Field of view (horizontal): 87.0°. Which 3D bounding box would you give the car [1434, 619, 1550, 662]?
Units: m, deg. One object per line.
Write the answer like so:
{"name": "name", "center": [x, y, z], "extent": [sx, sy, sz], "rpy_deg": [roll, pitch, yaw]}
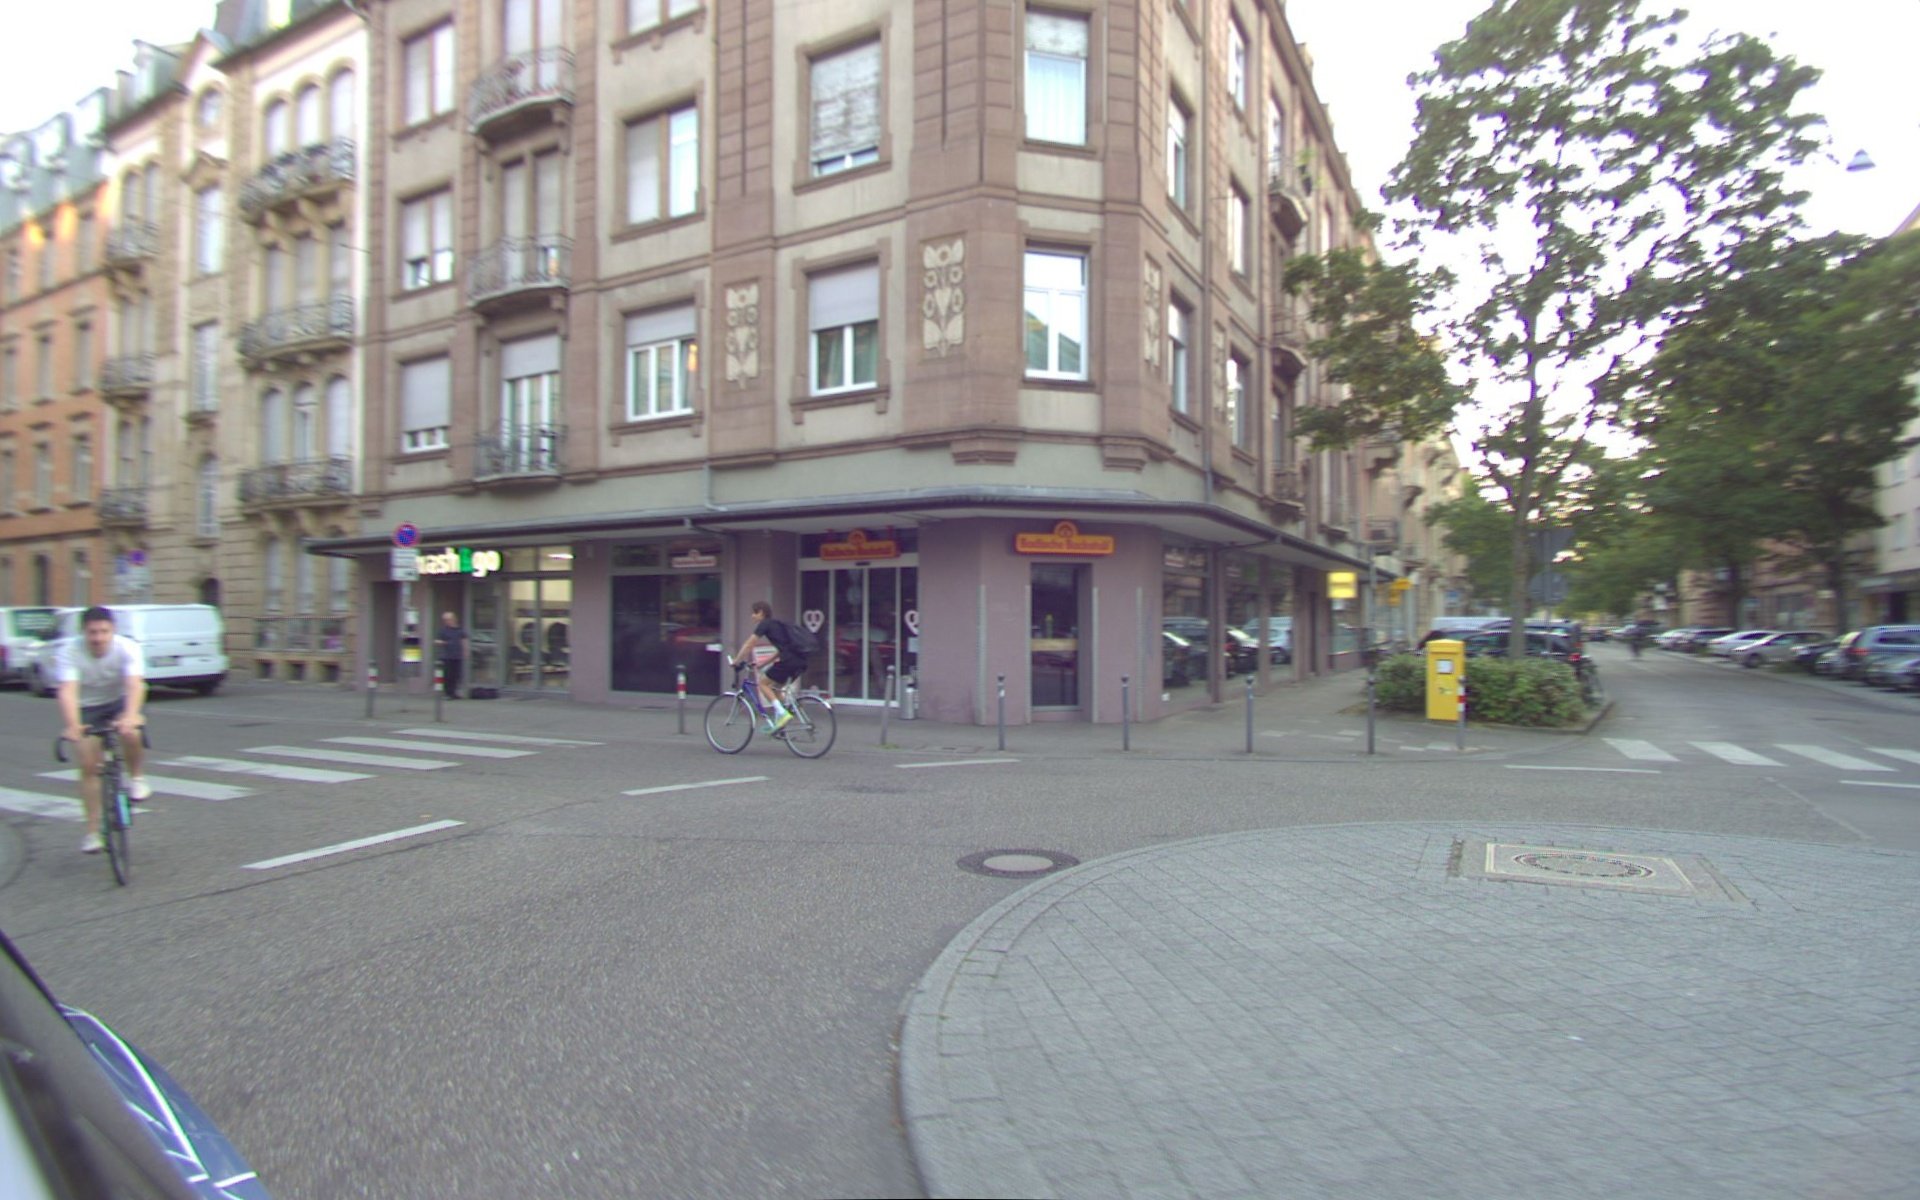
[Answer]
{"name": "car", "center": [26.186, 1.951, 49.970], "extent": [4.983, 1.966, 1.981], "rpy_deg": [0, 0, 29]}

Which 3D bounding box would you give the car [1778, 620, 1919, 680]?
{"name": "car", "center": [29.573, 1.590, 32.776], "extent": [4.476, 1.812, 1.981], "rpy_deg": [0, 0, 29]}

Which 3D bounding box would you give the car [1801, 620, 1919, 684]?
{"name": "car", "center": [28.319, 1.543, 30.304], "extent": [4.476, 1.812, 1.981], "rpy_deg": [0, 0, 29]}

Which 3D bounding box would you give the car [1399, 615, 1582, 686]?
{"name": "car", "center": [15.013, 1.364, 28.845], "extent": [4.476, 1.844, 1.981], "rpy_deg": [0, 0, 29]}

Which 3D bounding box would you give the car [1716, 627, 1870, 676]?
{"name": "car", "center": [33.620, 2.046, 41.041], "extent": [4.476, 1.812, 1.981], "rpy_deg": [0, 0, 29]}

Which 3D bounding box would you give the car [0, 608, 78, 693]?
{"name": "car", "center": [-23.632, 1.188, 24.626], "extent": [4.826, 1.936, 1.824], "rpy_deg": [-1, -1, 30]}

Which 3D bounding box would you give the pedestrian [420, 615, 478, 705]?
{"name": "pedestrian", "center": [-9.893, 1.149, 19.606], "extent": [0.733, 1.691, 0.704], "rpy_deg": [-1, -1, 30]}

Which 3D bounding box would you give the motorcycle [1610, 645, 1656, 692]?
{"name": "motorcycle", "center": [33.091, 3.311, 49.806], "extent": [1.159, 2.029, 3.969], "rpy_deg": [0, 0, 23]}

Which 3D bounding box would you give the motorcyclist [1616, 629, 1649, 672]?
{"name": "motorcyclist", "center": [33.023, 2.465, 49.719], "extent": [1.159, 2.029, 1.032], "rpy_deg": [0, 0, 24]}

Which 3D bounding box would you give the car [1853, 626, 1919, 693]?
{"name": "car", "center": [25.358, 1.485, 25.061], "extent": [4.476, 1.590, 1.981], "rpy_deg": [0, 0, 29]}

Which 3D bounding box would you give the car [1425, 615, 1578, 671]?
{"name": "car", "center": [20.449, 1.574, 38.383], "extent": [4.983, 1.966, 1.981], "rpy_deg": [0, 0, 29]}

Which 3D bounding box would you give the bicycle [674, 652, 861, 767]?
{"name": "bicycle", "center": [-2.147, 1.198, 11.411], "extent": [1.915, 1.180, 0.838], "rpy_deg": [0, 0, 11]}

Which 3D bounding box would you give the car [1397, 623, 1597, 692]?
{"name": "car", "center": [13.952, 1.438, 26.501], "extent": [4.476, 1.590, 1.981], "rpy_deg": [0, 0, 29]}

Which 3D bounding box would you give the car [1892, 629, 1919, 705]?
{"name": "car", "center": [22.804, 1.446, 21.173], "extent": [4.476, 1.590, 1.981], "rpy_deg": [0, 0, 29]}

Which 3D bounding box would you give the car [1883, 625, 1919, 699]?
{"name": "car", "center": [24.151, 1.422, 22.860], "extent": [4.476, 1.632, 1.981], "rpy_deg": [0, 0, 29]}

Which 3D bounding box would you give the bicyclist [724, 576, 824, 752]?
{"name": "bicyclist", "center": [-2.080, 0.693, 11.398], "extent": [0.869, 1.890, 0.838], "rpy_deg": [0, 0, 10]}

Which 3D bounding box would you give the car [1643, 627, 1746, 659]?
{"name": "car", "center": [41.514, 2.401, 57.330], "extent": [4.476, 1.627, 1.981], "rpy_deg": [0, 0, 29]}

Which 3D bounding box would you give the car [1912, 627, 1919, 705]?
{"name": "car", "center": [21.458, 1.353, 19.239], "extent": [4.476, 1.590, 1.981], "rpy_deg": [0, 0, 29]}

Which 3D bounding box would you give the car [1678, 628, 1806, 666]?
{"name": "car", "center": [36.726, 2.199, 47.699], "extent": [4.476, 1.627, 1.981], "rpy_deg": [0, 0, 29]}

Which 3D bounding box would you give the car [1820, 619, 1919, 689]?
{"name": "car", "center": [26.505, 1.453, 27.452], "extent": [4.476, 1.812, 1.981], "rpy_deg": [0, 0, 29]}

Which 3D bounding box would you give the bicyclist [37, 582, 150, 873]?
{"name": "bicyclist", "center": [-5.525, 0.753, 6.449], "extent": [0.521, 1.716, 0.790], "rpy_deg": [0, 0, -42]}

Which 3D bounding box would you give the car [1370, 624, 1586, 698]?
{"name": "car", "center": [12.440, 1.402, 24.491], "extent": [4.476, 1.590, 1.981], "rpy_deg": [0, 0, 29]}

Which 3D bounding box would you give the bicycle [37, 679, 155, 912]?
{"name": "bicycle", "center": [-5.501, 1.146, 6.428], "extent": [0.513, 1.164, 1.785], "rpy_deg": [0, 0, -42]}

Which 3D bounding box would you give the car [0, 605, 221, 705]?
{"name": "car", "center": [-18.373, 1.115, 21.724], "extent": [5.002, 1.936, 2.096], "rpy_deg": [-1, -1, 28]}

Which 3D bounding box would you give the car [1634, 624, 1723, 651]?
{"name": "car", "center": [46.743, 2.392, 65.942], "extent": [4.476, 1.627, 1.981], "rpy_deg": [0, 0, 29]}
